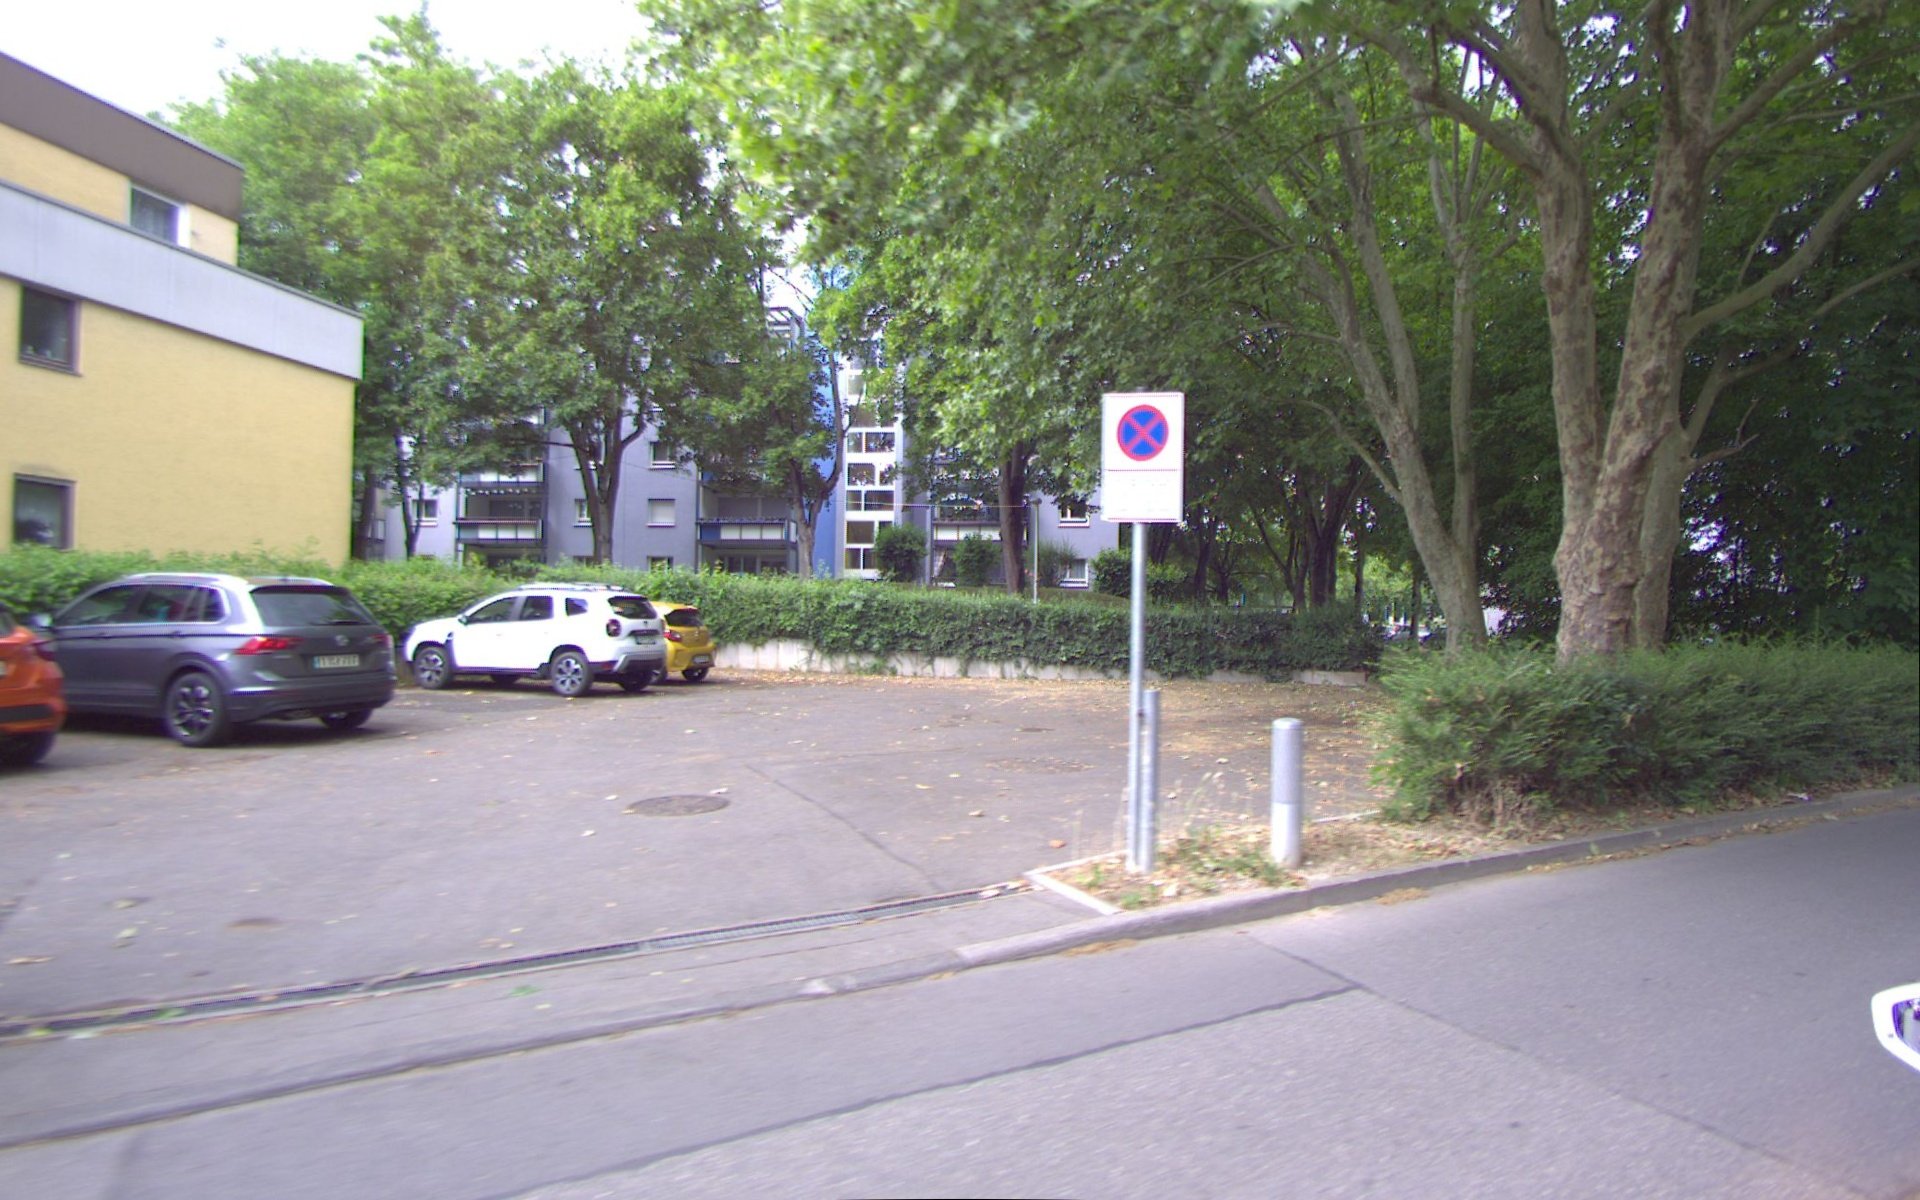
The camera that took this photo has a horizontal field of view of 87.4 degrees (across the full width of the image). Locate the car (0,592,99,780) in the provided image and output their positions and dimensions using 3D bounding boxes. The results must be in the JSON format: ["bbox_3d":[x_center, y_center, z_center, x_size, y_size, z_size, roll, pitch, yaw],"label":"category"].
[{"bbox_3d":[-9.350,0.632,8.053,3.919,1.449,1.750,1,-1,14],"label":"car"}]

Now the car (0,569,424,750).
[{"bbox_3d":[-7.998,0.553,10.569,3.919,1.632,1.826,1,-1,14],"label":"car"}]

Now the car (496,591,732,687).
[{"bbox_3d":[-6.513,0.704,19.009,3.920,1.632,1.750,1,-1,16],"label":"car"}]

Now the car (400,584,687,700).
[{"bbox_3d":[-6.723,0.638,16.311,4.033,1.670,1.808,1,-1,16],"label":"car"}]
